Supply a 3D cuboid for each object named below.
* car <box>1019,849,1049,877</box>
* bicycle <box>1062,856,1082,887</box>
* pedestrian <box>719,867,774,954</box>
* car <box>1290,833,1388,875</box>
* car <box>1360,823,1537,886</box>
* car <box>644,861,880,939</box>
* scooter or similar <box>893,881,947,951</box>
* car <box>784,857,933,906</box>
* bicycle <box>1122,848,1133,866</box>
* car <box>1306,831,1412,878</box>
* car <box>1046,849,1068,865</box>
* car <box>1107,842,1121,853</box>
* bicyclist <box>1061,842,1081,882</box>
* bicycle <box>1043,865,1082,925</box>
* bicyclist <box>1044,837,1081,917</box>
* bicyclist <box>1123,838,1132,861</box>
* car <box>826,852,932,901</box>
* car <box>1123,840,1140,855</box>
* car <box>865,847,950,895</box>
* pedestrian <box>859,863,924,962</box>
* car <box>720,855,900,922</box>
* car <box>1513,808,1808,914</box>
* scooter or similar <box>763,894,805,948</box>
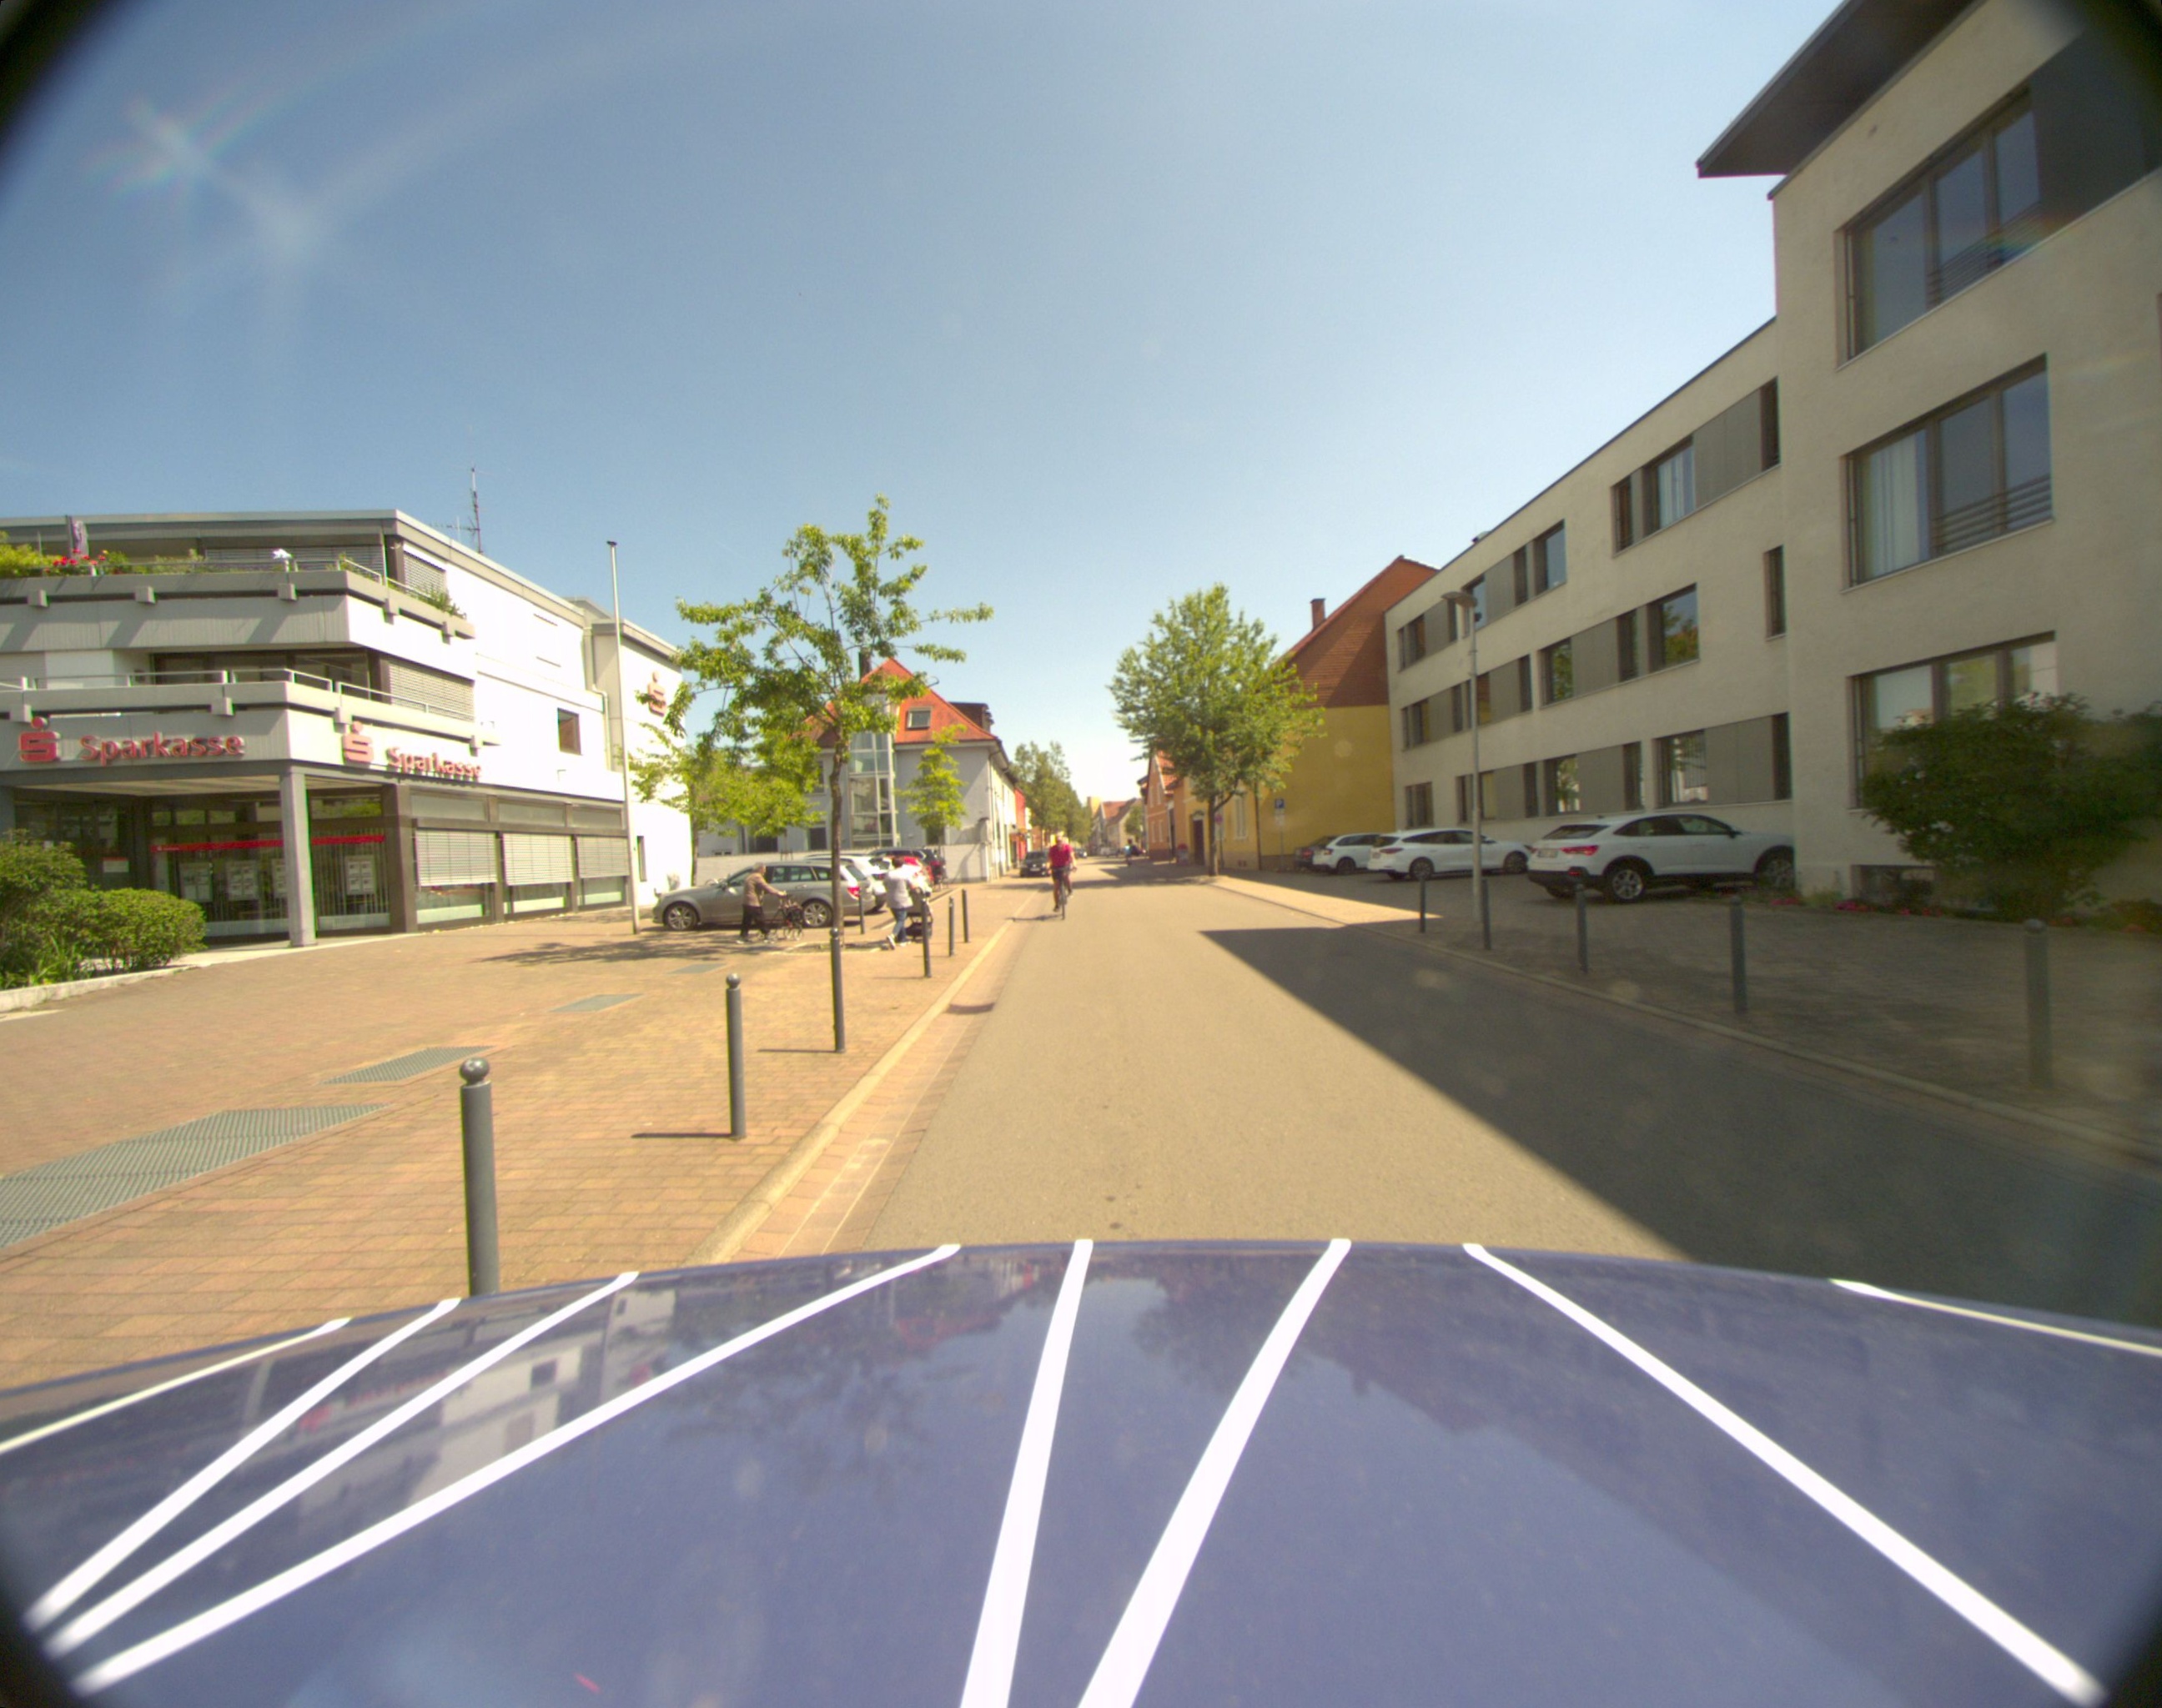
[{"bbox_3d":[-2.675,0.454,42.491,1.530,1.444,3.519,-2,1,-5],"label":"car"},{"bbox_3d":[-0.381,0.717,31.801,0.690,1.183,1.798,-3,1,-3],"label":"bicycle"},{"bbox_3d":[-6.035,0.999,13.713,0.725,1.492,0.530,-3,2,-42],"label":"pedestrian"},{"bbox_3d":[9.965,-0.009,29.496,3.258,1.393,1.374,-4,1,-2],"label":"car"},{"bbox_3d":[10.599,-0.003,22.095,4.324,1.470,1.513,-4,1,0],"label":"car"},{"bbox_3d":[-6.859,0.951,16.735,4.446,1.457,1.689,-1,2,-6],"label":"car"},{"bbox_3d":[-2.778,1.056,13.174,0.505,1.112,0.910,-1,1,18],"label":"scooter or similar"},{"bbox_3d":[-7.168,0.865,24.884,4.446,1.434,1.655,-1,1,-8],"label":"car"},{"bbox_3d":[3.338,0.215,54.626,0.595,1.183,1.724,-3,1,-2],"label":"bicycle"},{"bbox_3d":[9.928,0.003,27.286,3.139,1.442,1.642,-4,1,1],"label":"car"},{"bbox_3d":[-1.971,0.225,61.928,1.530,1.298,3.248,-1,1,-6],"label":"car"},{"bbox_3d":[5.273,-1.063,122.150,1.999,1.696,3.999,-2,1,-1],"label":"car"},{"bbox_3d":[-0.417,0.324,31.703,0.703,1.573,0.878,-4,2,-3],"label":"bicyclist"},{"bbox_3d":[-0.442,0.879,17.026,0.738,1.183,1.970,-3,1,-3],"label":"bicycle"},{"bbox_3d":[-0.423,0.494,16.831,0.703,1.707,0.759,-4,2,-3],"label":"bicyclist"},{"bbox_3d":[3.334,-0.335,54.498,0.538,1.630,0.551,-2,1,-2],"label":"bicyclist"},{"bbox_3d":[-7.218,0.781,27.418,3.431,1.543,1.490,-2,1,-5],"label":"car"},{"bbox_3d":[6.598,-0.858,99.790,1.826,1.805,3.999,-2,1,-1],"label":"car"},{"bbox_3d":[-6.704,0.643,29.559,3.041,1.727,1.344,-1,1,-5],"label":"car"},{"bbox_3d":[-3.058,0.913,12.328,0.512,1.507,1.049,-1,1,19],"label":"pedestrian"},{"bbox_3d":[-6.866,0.841,19.601,4.047,1.550,1.711,-1,1,-6],"label":"car"},{"bbox_3d":[10.395,0.114,13.830,3.997,1.539,1.748,-4,1,-2],"label":"car"},{"bbox_3d":[-5.537,1.232,14.169,0.548,0.940,0.535,-3,2,-42],"label":"scooter or similar"}]
